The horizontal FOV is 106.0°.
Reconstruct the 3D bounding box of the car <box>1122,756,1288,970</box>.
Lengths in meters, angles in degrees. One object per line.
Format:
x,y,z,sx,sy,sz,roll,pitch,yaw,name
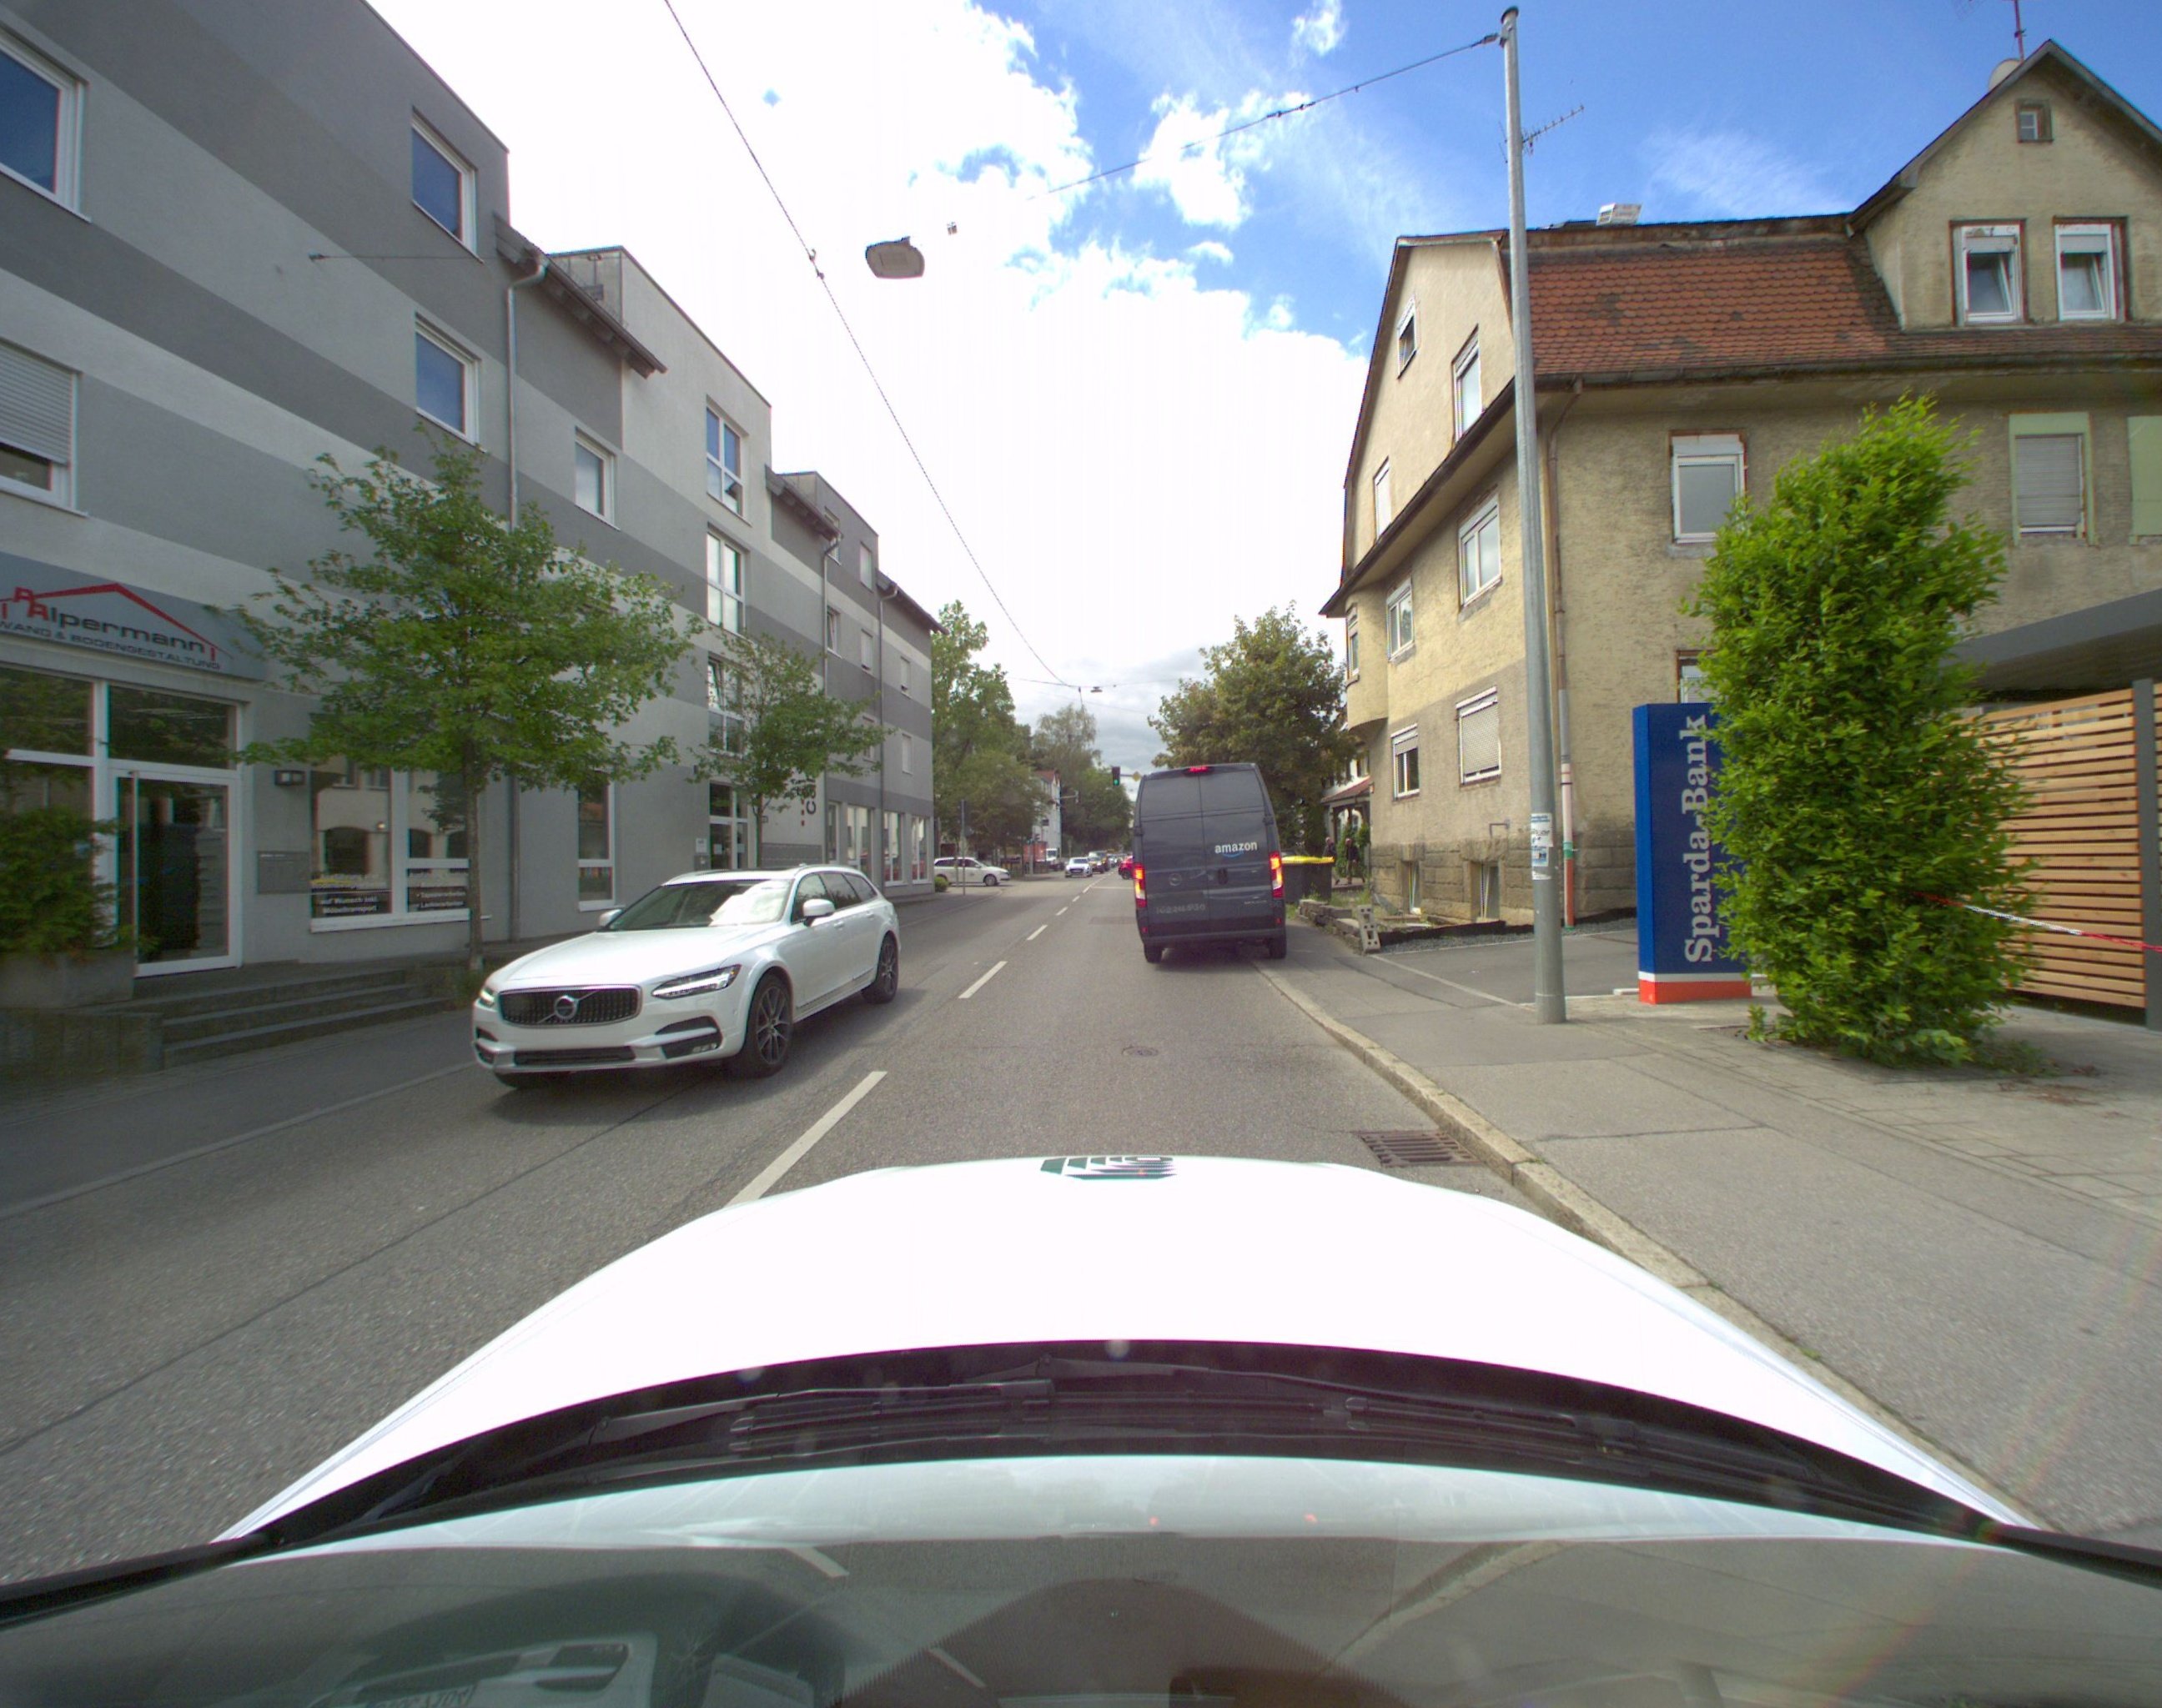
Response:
2.234,0.129,13.818,2.134,2.770,6.269,-1,0,11,car

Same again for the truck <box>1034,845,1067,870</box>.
-3.021,0.375,82.117,2.212,2.380,6.338,0,-1,7,truck

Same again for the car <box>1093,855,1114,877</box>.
2.125,1.104,76.999,1.869,1.912,4.755,0,0,3,car

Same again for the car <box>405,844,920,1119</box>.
-3.014,0.778,7.328,1.890,1.559,4.803,-4,0,3,car

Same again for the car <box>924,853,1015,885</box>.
-5.579,0.735,41.020,4.193,1.513,1.824,0,1,4,car

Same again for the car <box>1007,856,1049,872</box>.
-4.832,0.908,74.845,3.680,1.425,1.805,0,0,0,car

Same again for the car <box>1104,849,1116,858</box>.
6.400,-0.039,178.233,2.134,1.981,4.941,0,-1,7,car

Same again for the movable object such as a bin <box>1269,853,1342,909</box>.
5.351,0.623,19.476,1.189,1.266,1.199,-1,0,-27,movable object such as a bin

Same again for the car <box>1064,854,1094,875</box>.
-0.098,0.724,58.790,1.865,1.424,4.120,0,0,4,car

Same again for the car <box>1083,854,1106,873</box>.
1.149,0.791,68.923,1.720,1.538,4.004,0,0,4,car

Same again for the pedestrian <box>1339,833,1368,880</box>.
9.752,0.086,29.170,0.777,1.643,0.803,-1,0,34,pedestrian

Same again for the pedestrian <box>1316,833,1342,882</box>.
9.076,0.134,29.810,0.733,1.782,0.905,-1,0,26,pedestrian

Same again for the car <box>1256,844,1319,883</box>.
9.560,0.393,37.511,1.735,1.517,4.104,-5,0,29,car

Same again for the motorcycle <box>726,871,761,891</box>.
-18.414,1.454,44.450,1.201,1.004,2.332,0,0,-8,motorcycle
